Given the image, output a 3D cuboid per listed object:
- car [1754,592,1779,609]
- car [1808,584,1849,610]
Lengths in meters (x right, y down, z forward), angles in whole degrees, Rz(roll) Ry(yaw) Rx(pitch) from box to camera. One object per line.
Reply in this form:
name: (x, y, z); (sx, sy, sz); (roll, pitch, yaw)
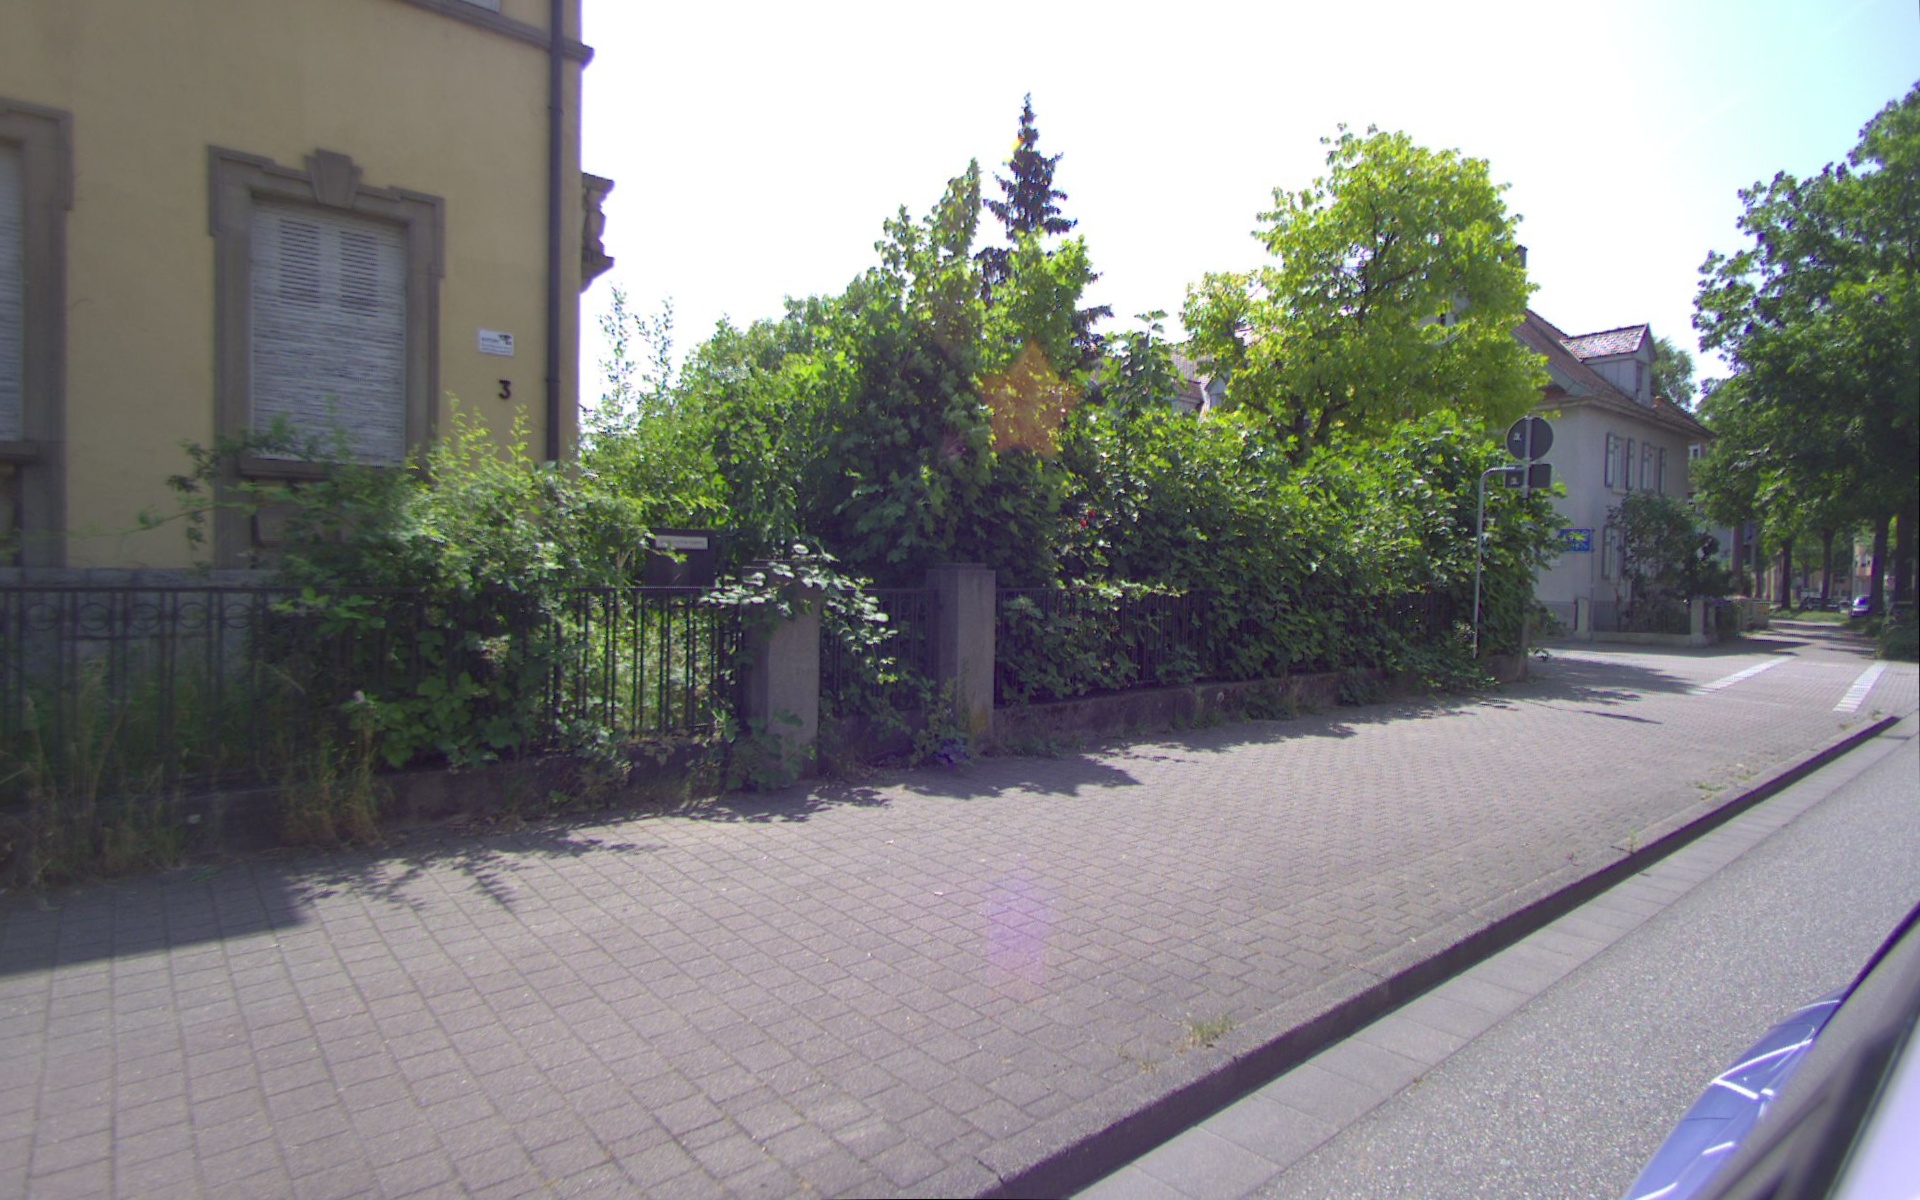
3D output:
car: (75.912, 0.049, 95.316); (1.694, 1.571, 3.947); (0, 0, 37)
car: (59.567, -0.221, 69.451); (1.817, 1.705, 3.948); (0, 0, 36)
